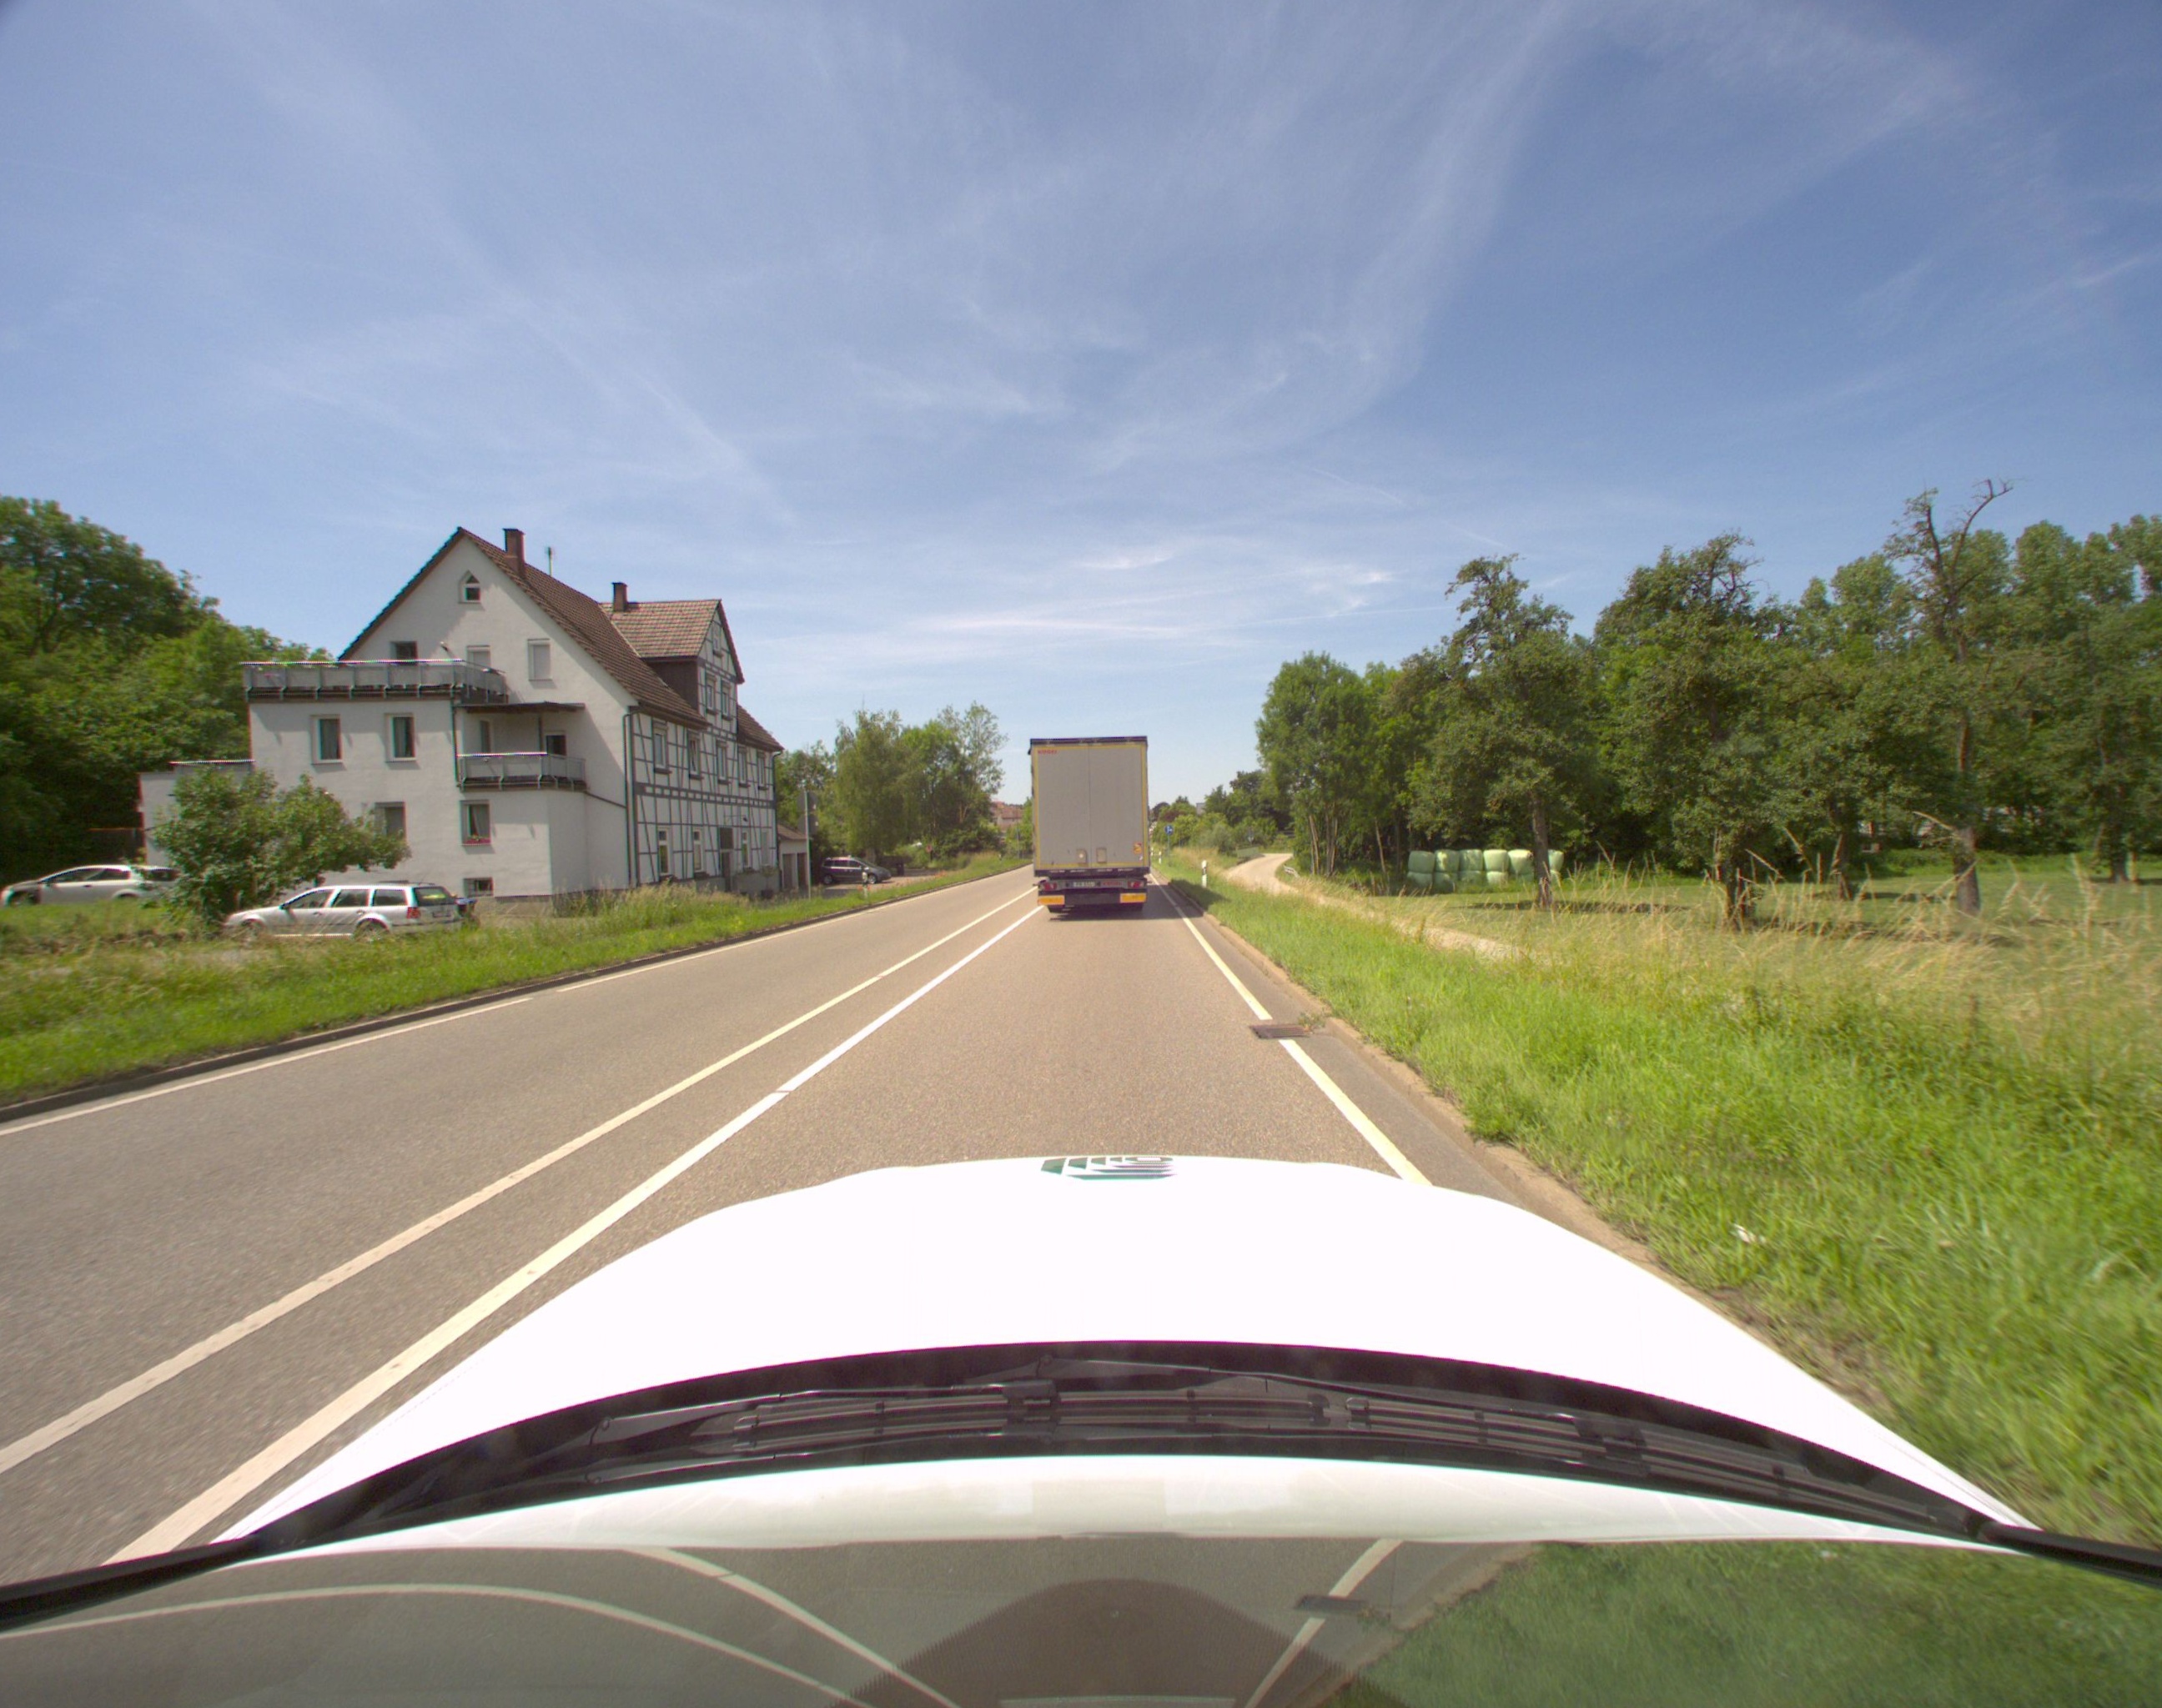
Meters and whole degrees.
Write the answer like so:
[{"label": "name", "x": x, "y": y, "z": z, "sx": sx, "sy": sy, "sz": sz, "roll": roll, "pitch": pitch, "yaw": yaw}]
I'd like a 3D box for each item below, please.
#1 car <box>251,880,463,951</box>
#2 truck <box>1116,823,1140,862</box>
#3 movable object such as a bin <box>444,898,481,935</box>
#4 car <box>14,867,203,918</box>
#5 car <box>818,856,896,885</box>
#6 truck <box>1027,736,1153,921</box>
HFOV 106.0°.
[{"label": "car", "x": -16.719, "y": 1.397, "z": 18.944, "sx": 3.369, "sy": 1.465, "sz": 1.608, "roll": -1, "pitch": 0, "yaw": -4}, {"label": "truck", "x": 5.758, "y": -1.370, "z": 101.427, "sx": 2.636, "sy": 4.601, "sz": 10.820, "roll": 0, "pitch": 0, "yaw": 2}, {"label": "movable object such as a bin", "x": -16.657, "y": 1.668, "z": 21.936, "sx": 0.502, "sy": 0.936, "sz": 0.653, "roll": -1, "pitch": -1, "yaw": -5}, {"label": "car", "x": -29.642, "y": 1.152, "z": 24.941, "sx": 3.377, "sy": 1.446, "sz": 1.666, "roll": 1, "pitch": 0, "yaw": -11}, {"label": "car", "x": -14.858, "y": 1.070, "z": 54.177, "sx": 4.650, "sy": 1.720, "sz": 1.861, "roll": -1, "pitch": 2, "yaw": -2}, {"label": "truck", "x": 0.352, "y": -0.576, "z": 21.950, "sx": 2.637, "sy": 3.917, "sz": 8.829, "roll": -1, "pitch": 0, "yaw": 2}]
